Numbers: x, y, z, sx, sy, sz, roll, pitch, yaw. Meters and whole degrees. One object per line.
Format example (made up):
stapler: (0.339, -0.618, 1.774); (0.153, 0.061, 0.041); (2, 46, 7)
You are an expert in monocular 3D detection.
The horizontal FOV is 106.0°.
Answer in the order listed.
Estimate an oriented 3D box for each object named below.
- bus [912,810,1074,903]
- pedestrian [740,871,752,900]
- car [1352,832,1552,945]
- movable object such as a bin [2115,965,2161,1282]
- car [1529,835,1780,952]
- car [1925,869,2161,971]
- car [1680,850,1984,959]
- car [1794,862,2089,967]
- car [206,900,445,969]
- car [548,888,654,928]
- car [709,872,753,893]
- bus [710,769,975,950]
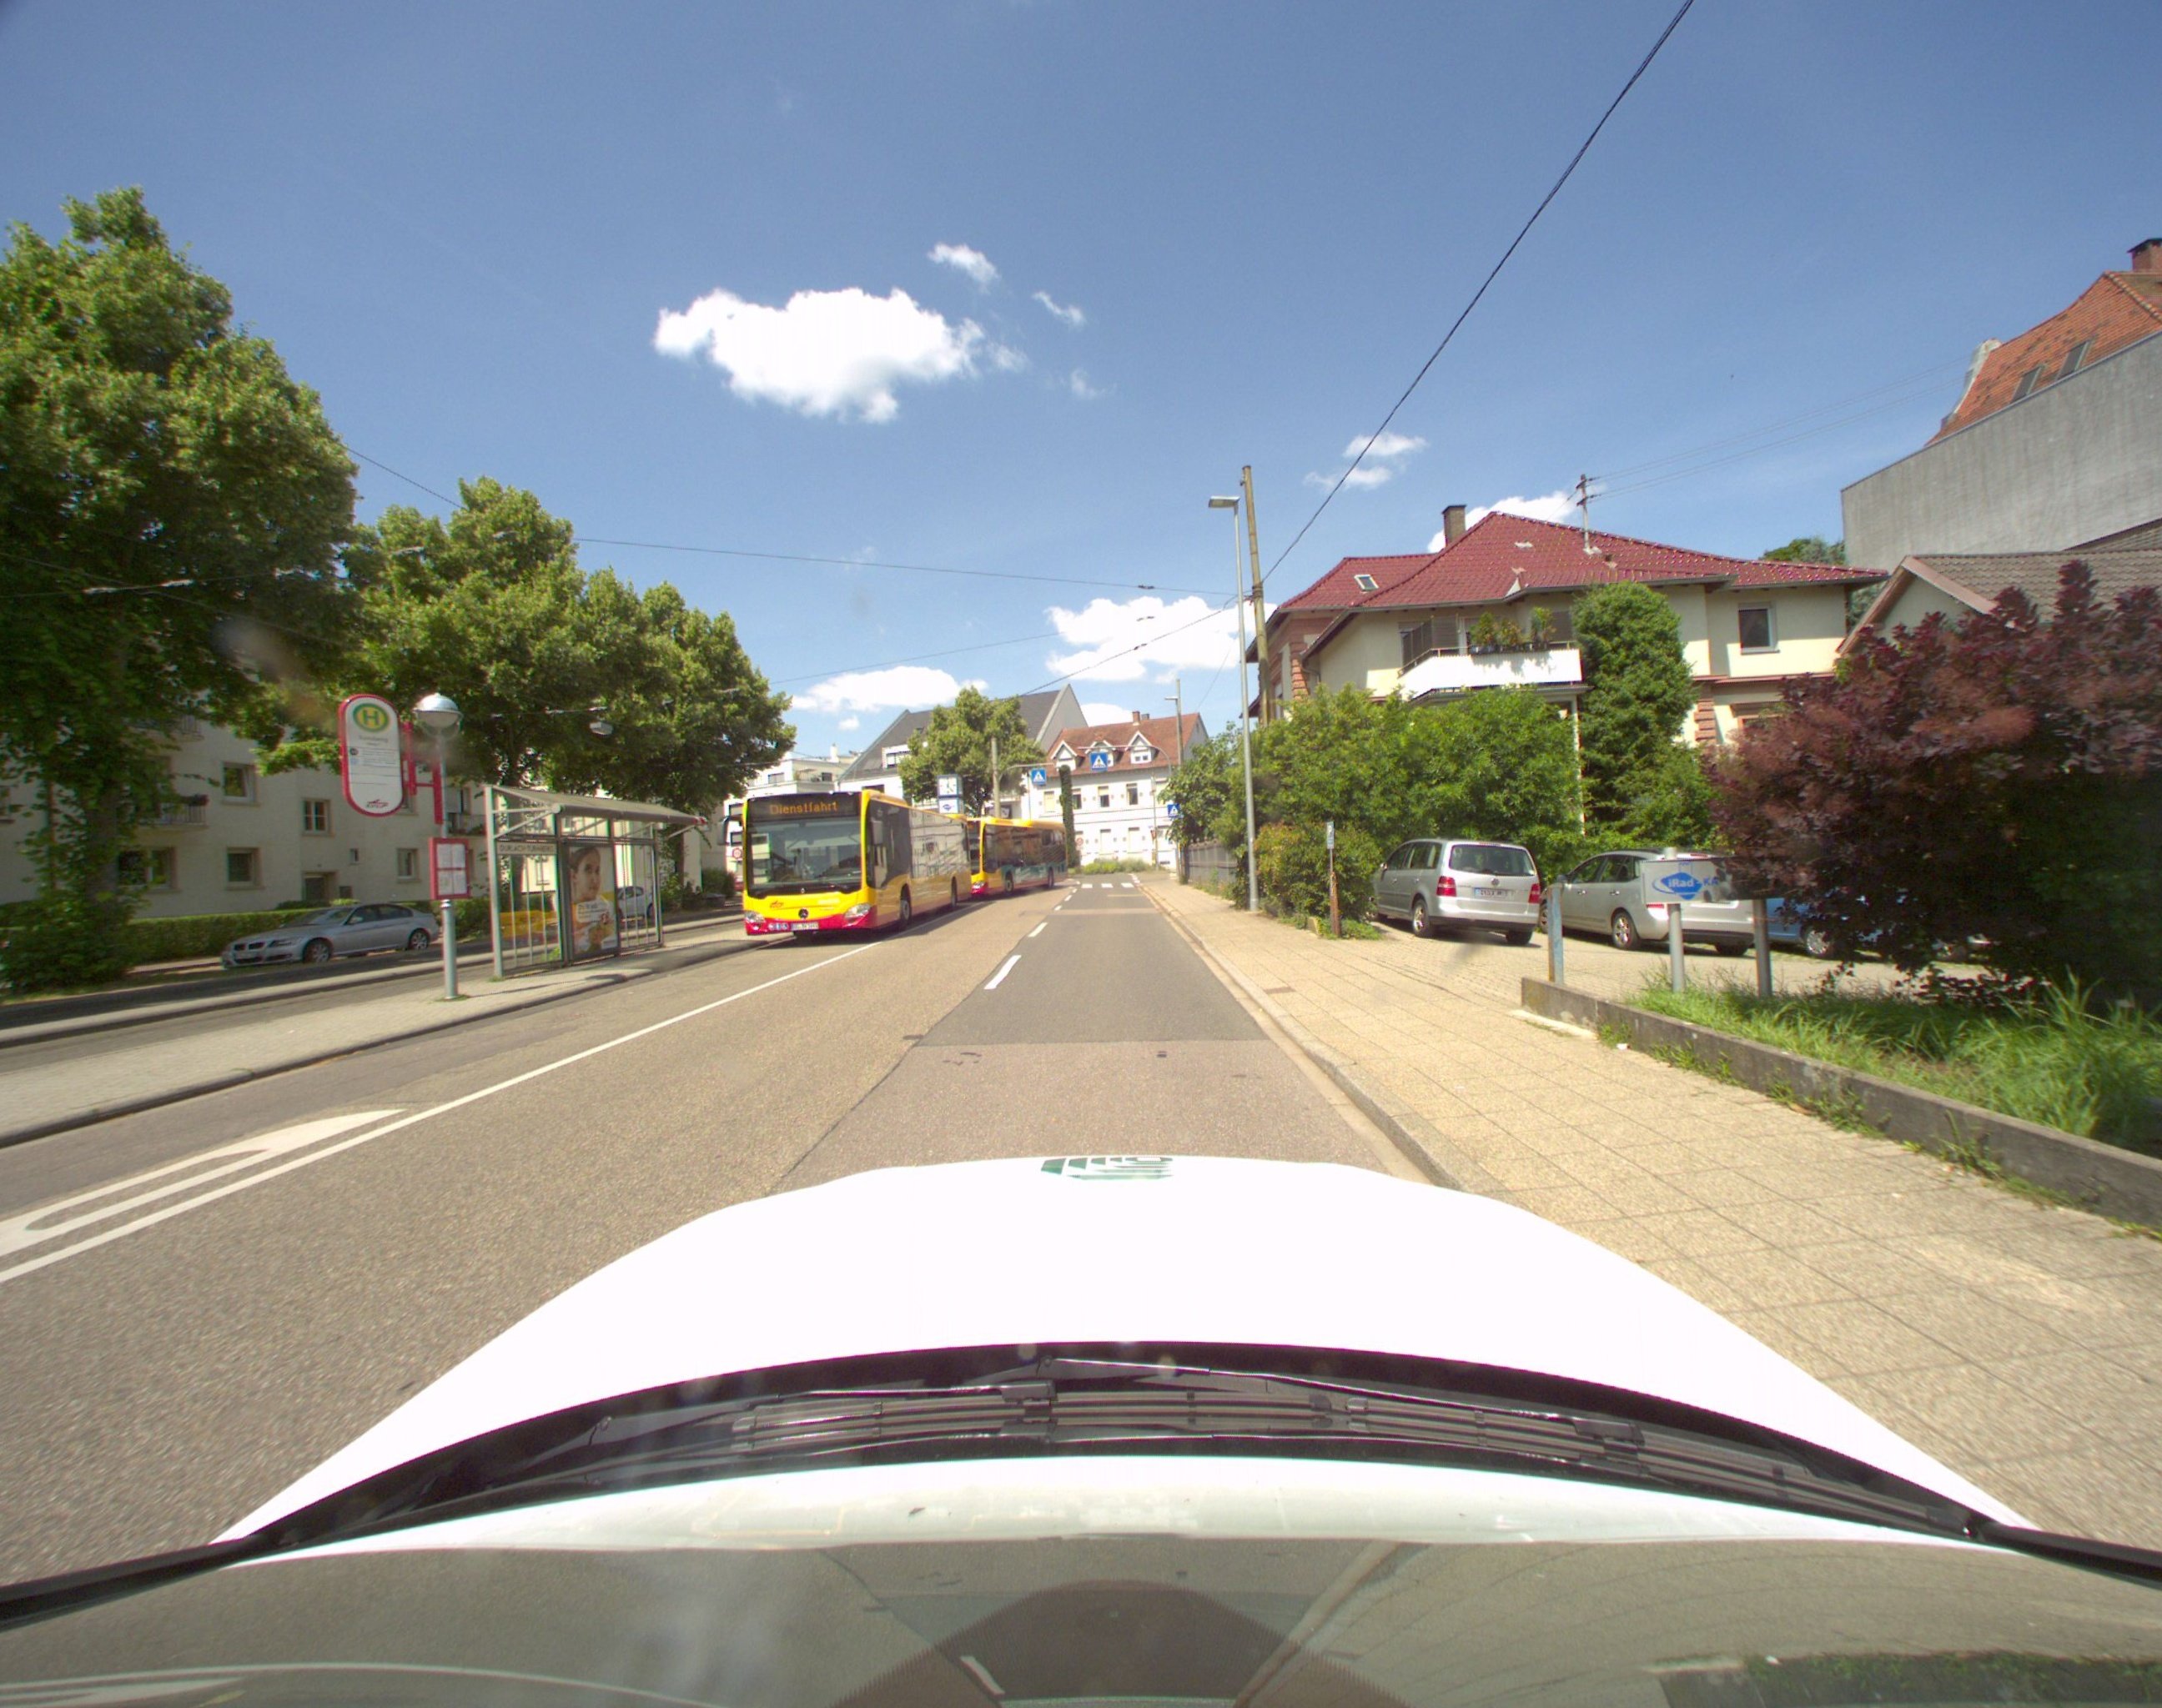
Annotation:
bus: (-3.194, 0.030, 34.667); (2.760, 3.208, 12.352); (-1, 0, 13)
pedestrian: (-23.003, 2.158, 55.945); (0.688, 2.014, 0.612); (0, -2, -33)
car: (6.273, 0.577, 14.295); (1.754, 1.628, 4.001); (2, -2, 2)
movable object such as a bin: (3.011, 0.728, 1.798); (0.405, 0.907, 0.729); (-6, -2, -1)
car: (9.654, 0.642, 14.154); (1.753, 1.668, 4.004); (2, -2, 4)
car: (17.174, 1.075, 14.096); (1.577, 1.538, 3.585); (2, -2, 4)
car: (12.599, 0.797, 14.069); (1.753, 1.538, 4.004); (2, -2, 4)
car: (14.833, 0.982, 14.344); (1.577, 1.538, 3.585); (2, -2, 4)
car: (-18.342, 1.884, 20.113); (1.687, 1.357, 4.402); (-1, -2, 2)
car: (-18.045, 2.000, 30.847); (1.710, 1.319, 3.997); (-1, -2, -2)
car: (-34.695, 2.806, 80.777); (3.948, 2.014, 2.012); (-2, -2, 31)
bus: (-5.132, 0.163, 20.903); (2.897, 3.248, 12.121); (-1, -1, 1)
